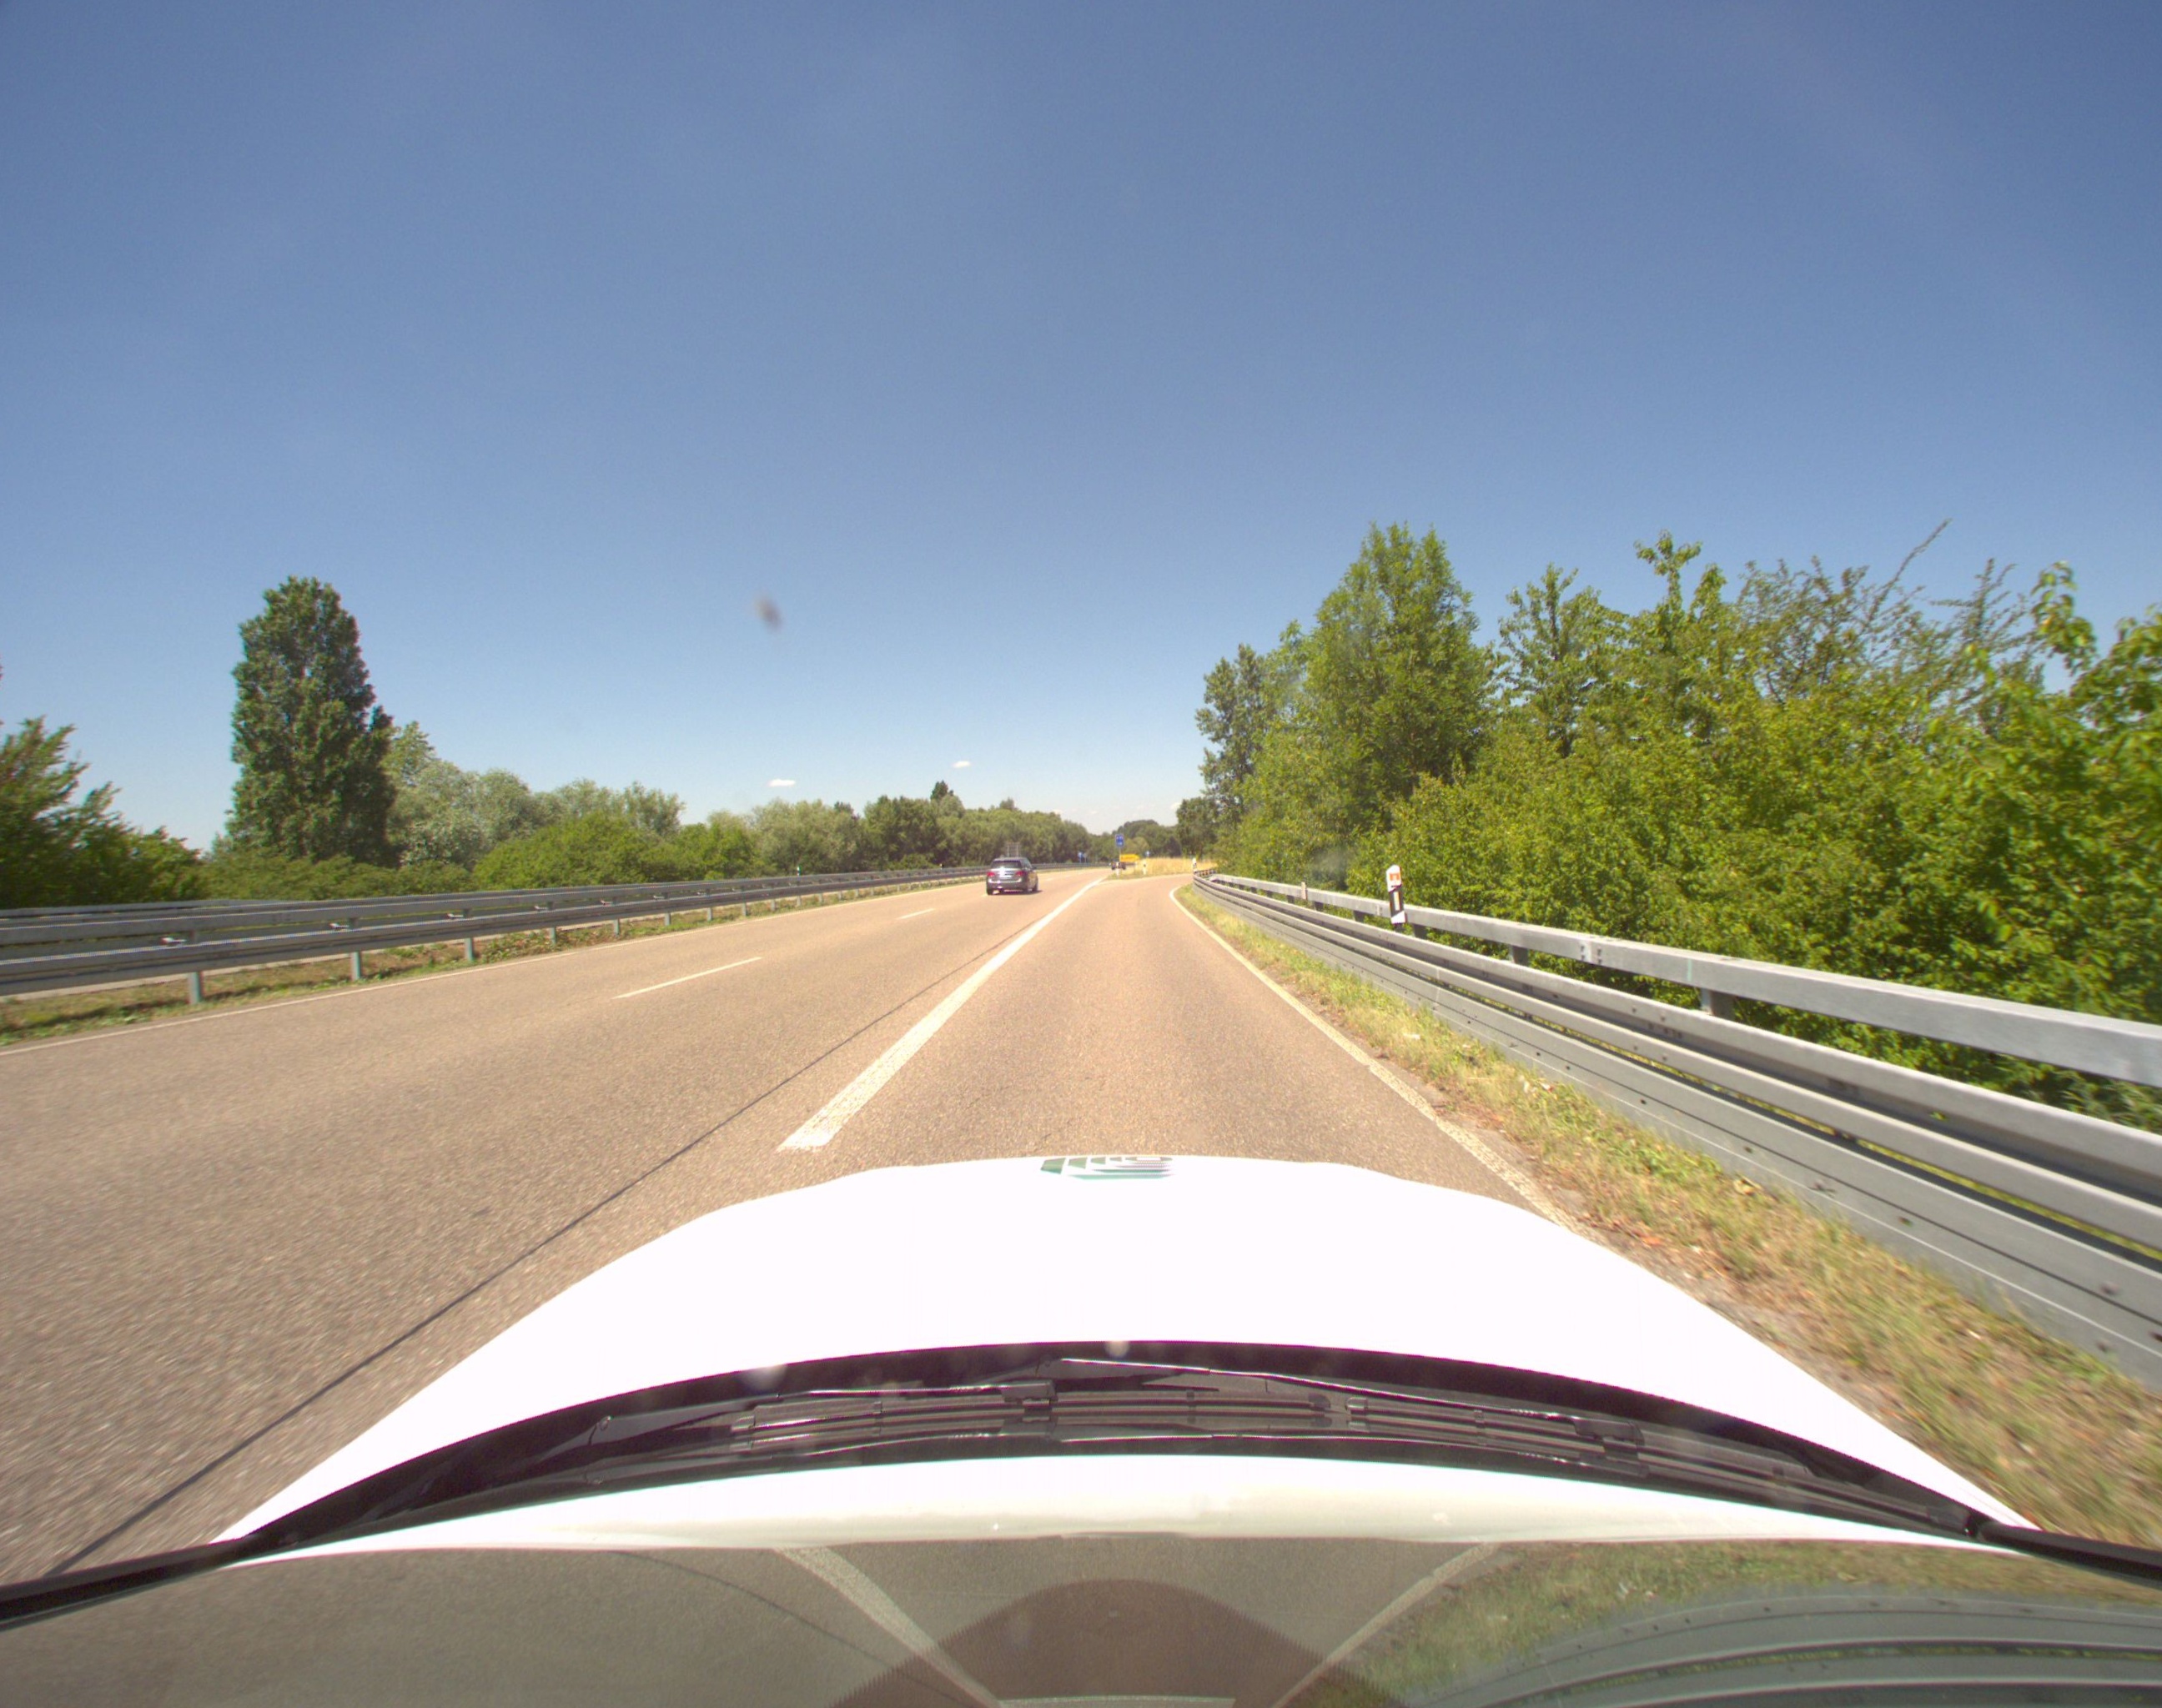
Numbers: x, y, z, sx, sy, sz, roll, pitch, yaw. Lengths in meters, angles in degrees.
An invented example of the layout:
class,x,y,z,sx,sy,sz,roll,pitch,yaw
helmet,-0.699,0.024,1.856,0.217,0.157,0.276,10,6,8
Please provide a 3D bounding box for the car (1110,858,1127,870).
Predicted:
class,x,y,z,sx,sy,sz,roll,pitch,yaw
car,5.257,1.354,113.501,1.831,1.529,4.480,0,1,8

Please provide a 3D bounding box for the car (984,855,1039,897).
class,x,y,z,sx,sy,sz,roll,pitch,yaw
car,-2.964,0.896,35.736,1.786,1.667,4.558,0,1,3
